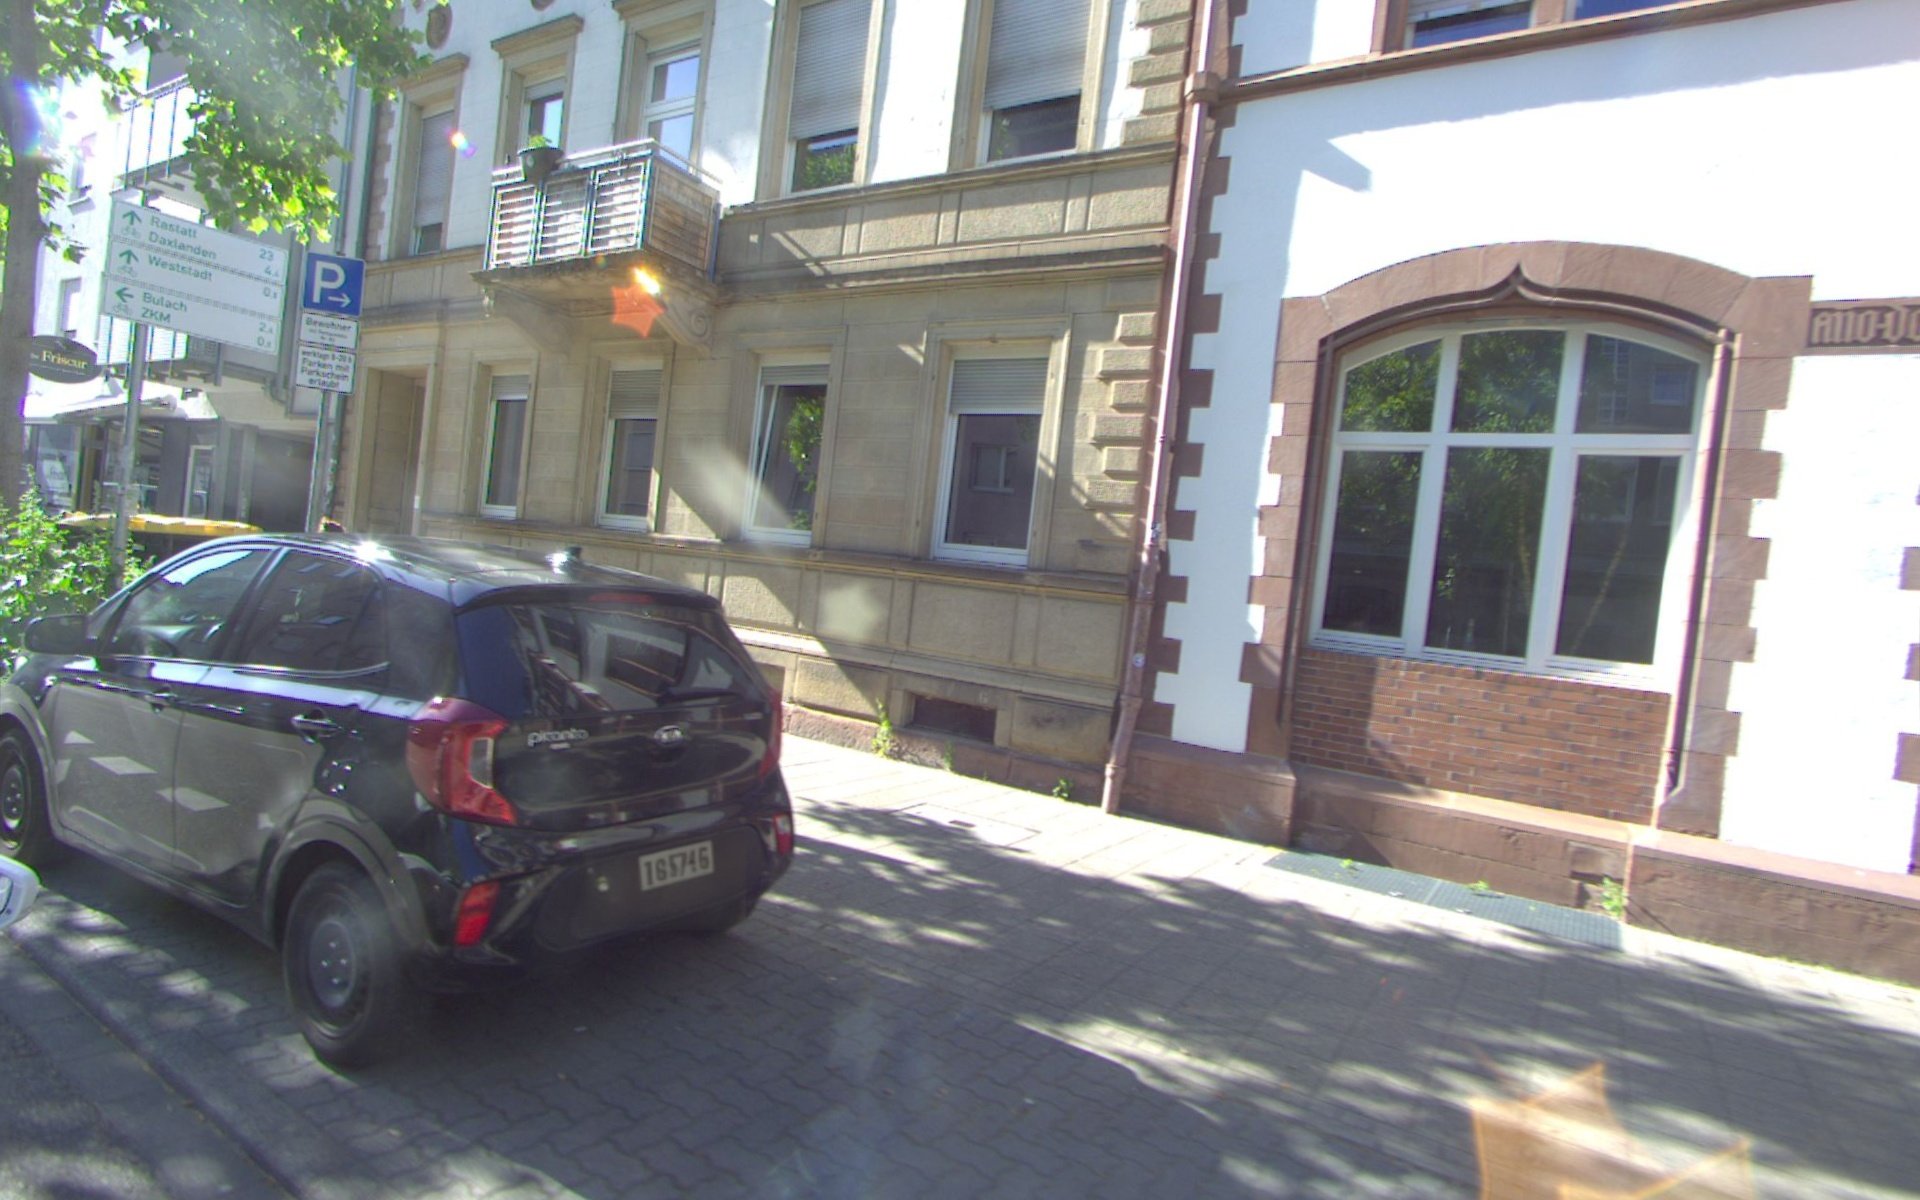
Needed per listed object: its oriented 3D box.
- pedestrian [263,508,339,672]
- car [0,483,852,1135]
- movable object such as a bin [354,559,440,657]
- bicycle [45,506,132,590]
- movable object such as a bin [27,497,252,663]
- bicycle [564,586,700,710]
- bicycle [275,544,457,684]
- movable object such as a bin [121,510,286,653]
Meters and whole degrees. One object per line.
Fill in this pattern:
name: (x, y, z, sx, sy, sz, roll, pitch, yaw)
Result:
pedestrian: (-6.195, -0.091, 9.455, 0.383, 1.488, 0.368, 7, 2, 31)
car: (-2.401, 0.450, 4.073, 3.520, 1.494, 1.637, 7, 1, 31)
movable object such as a bin: (-6.497, 0.099, 11.620, 0.537, 1.055, 0.599, 7, 1, 31)
bicycle: (-15.150, -0.911, 17.472, 1.853, 1.284, 0.548, 6, -1, 33)
movable object such as a bin: (-7.791, -0.183, 9.648, 1.090, 1.365, 1.269, 6, 1, -10)
bicycle: (-3.267, 0.447, 9.973, 1.404, 1.045, 0.432, 7, 4, 32)
bicycle: (-5.768, 0.114, 9.716, 2.089, 1.163, 0.537, 5, 0, 32)
movable object such as a bin: (-8.195, -0.197, 10.970, 1.026, 1.364, 1.104, 7, 0, -19)
